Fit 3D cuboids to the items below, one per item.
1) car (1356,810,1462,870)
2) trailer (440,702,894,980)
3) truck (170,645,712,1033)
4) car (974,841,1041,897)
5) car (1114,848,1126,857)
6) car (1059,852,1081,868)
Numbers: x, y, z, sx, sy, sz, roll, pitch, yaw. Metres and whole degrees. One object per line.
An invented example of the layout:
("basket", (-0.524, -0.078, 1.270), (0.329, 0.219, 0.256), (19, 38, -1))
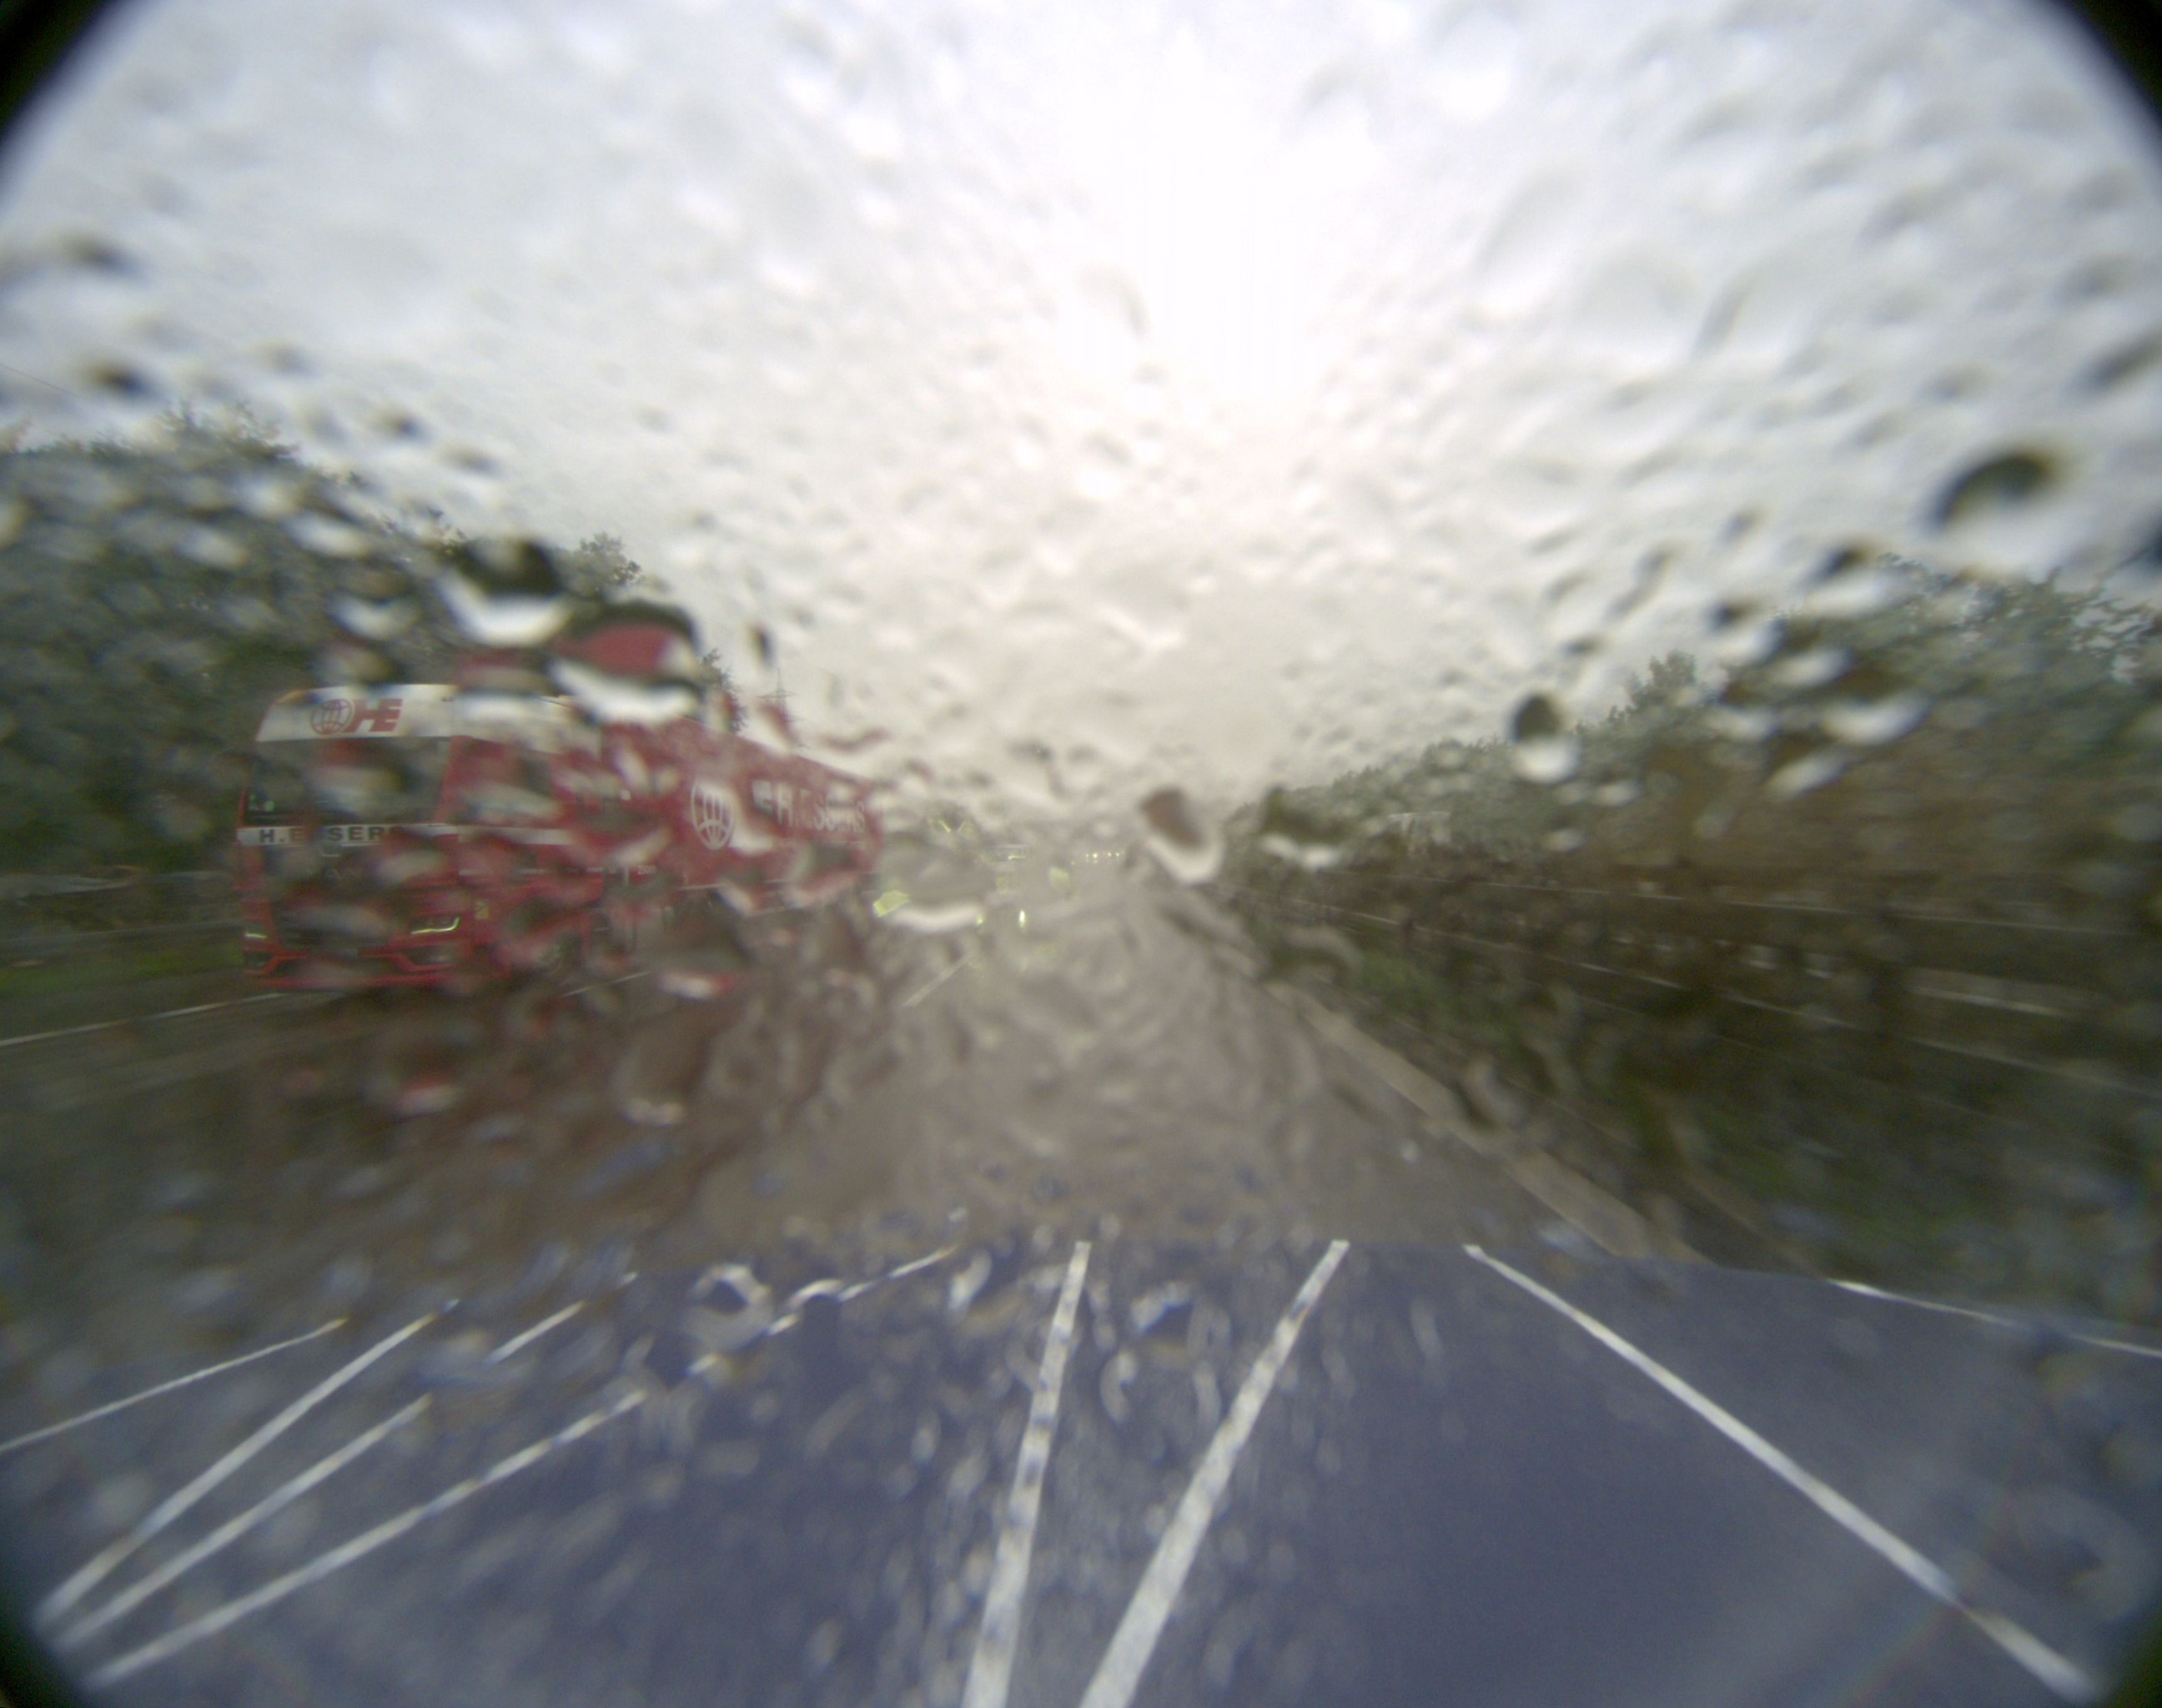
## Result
("car", (17.255, -0.683, 40.563), (2.553, 2.808, 7.426), (-3, 0, 2))
("trailer", (-7.668, -0.244, 17.817), (2.626, 3.932, 13.630), (-2, 1, 2))
("truck", (-7.955, -0.163, 10.582), (2.626, 3.932, 5.433), (-2, 1, 3))
("car", (-2.798, 0.541, 30.118), (1.892, 1.873, 5.009), (-4, 0, 2))
("car", (7.280, -0.250, 141.832), (1.768, 1.448, 3.961), (-4, 0, 8))
("car", (-1.090, 0.592, 77.771), (1.769, 1.448, 3.960), (-4, 0, 4))
